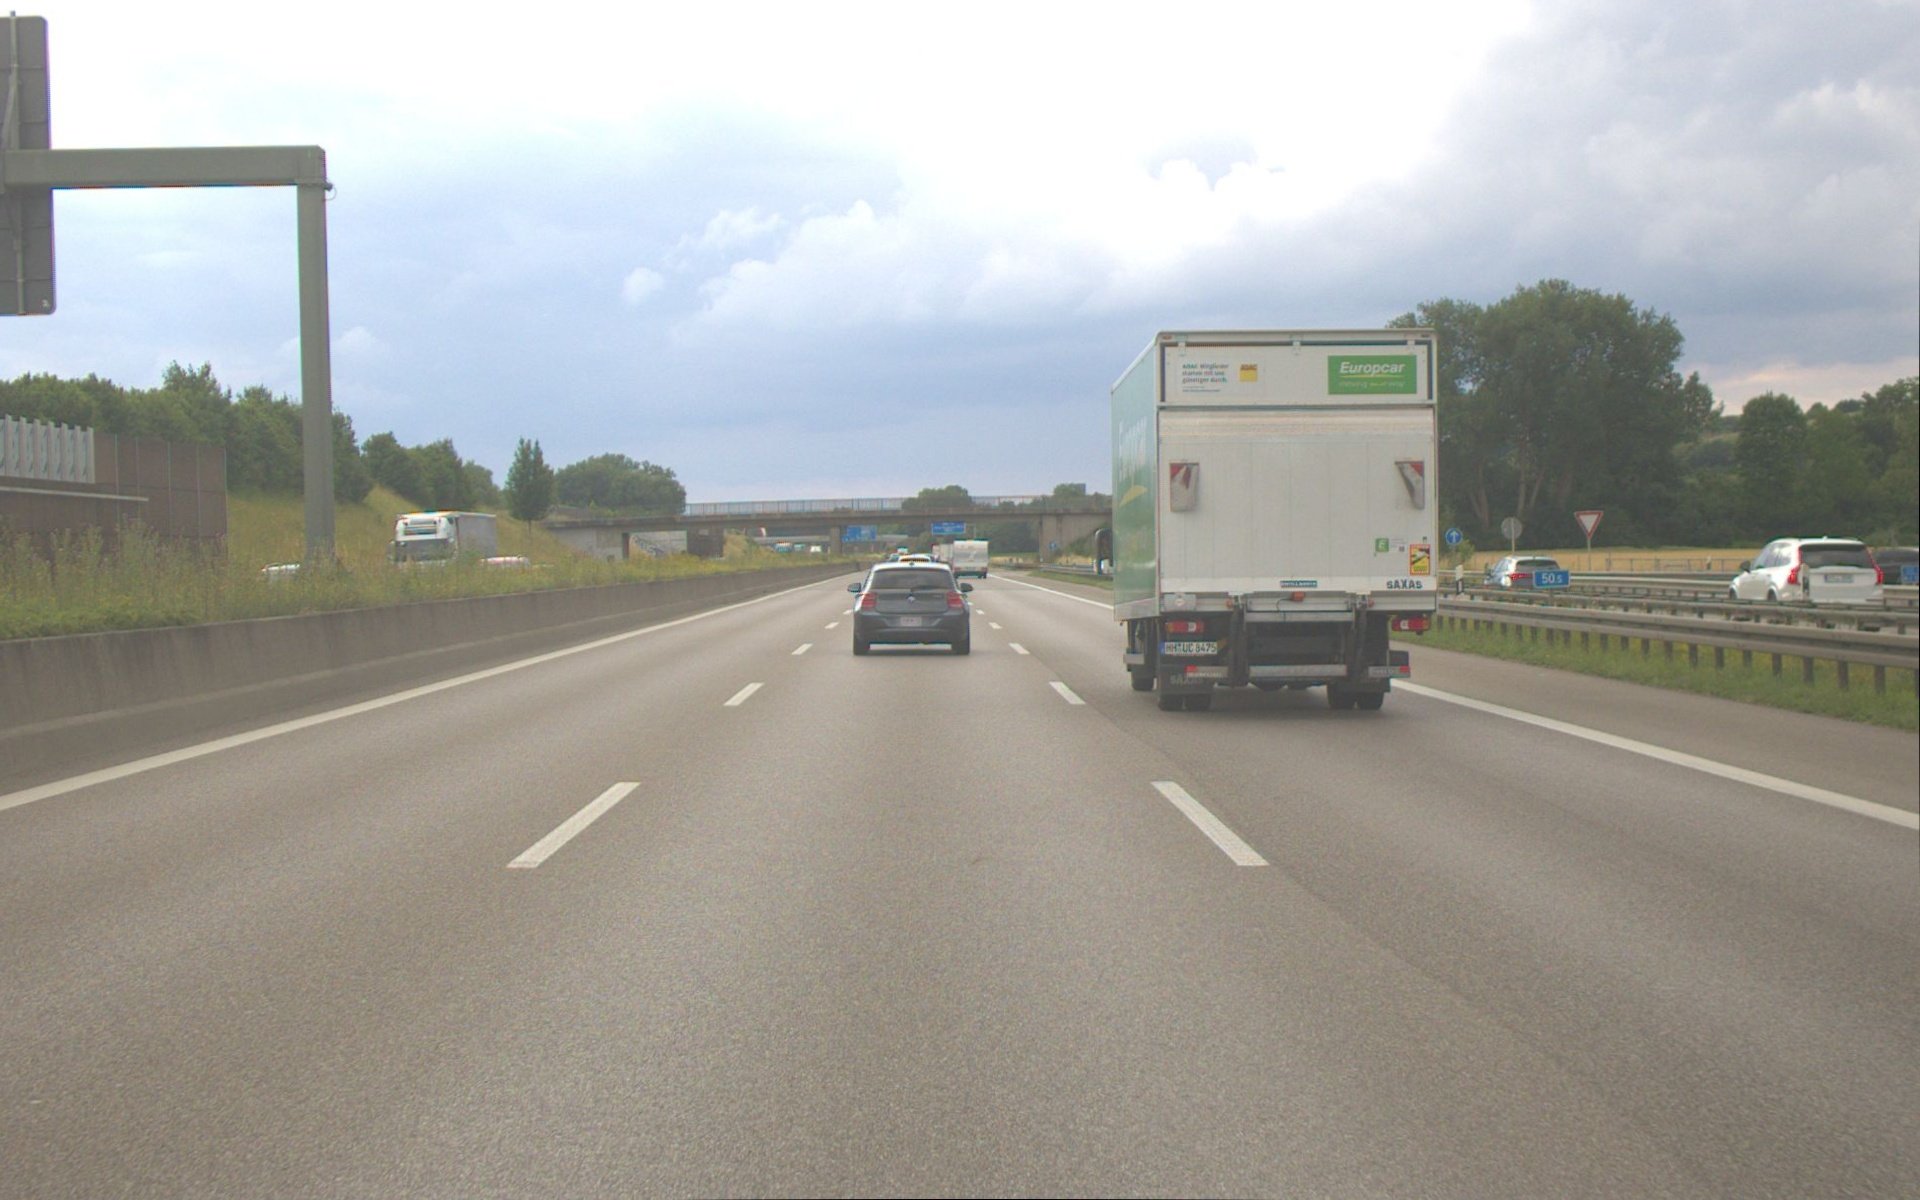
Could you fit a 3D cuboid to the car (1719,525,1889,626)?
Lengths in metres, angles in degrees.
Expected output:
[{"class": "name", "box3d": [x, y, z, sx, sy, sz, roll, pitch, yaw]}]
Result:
[{"class": "car", "box3d": [15.601, -0.479, 63.773, 1.828, 1.751, 5.066, -1, 1, -1]}]

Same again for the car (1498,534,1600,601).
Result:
[{"class": "car", "box3d": [16.025, -0.894, 93.798, 1.828, 1.751, 5.066, -1, 1, -1]}]

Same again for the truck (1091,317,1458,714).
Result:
[{"class": "truck", "box3d": [2.953, -0.819, 34.925, 2.770, 3.492, 9.062, 0, 1, -1]}]

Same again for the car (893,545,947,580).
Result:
[{"class": "car", "box3d": [-1.570, -1.461, 133.609, 1.993, 1.294, 4.000, -2, 1, -1]}]

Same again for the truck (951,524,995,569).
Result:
[{"class": "truck", "box3d": [0.867, -3.619, 234.310, 2.710, 2.954, 12.447, 1, 1, -1]}]

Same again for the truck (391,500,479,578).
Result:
[{"class": "truck", "box3d": [-22.210, -2.574, 145.717, 2.824, 3.216, 5.981, -1, 1, -1]}]

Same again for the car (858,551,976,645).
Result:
[{"class": "car", "box3d": [-0.663, -0.061, 53.080, 1.743, 1.384, 4.000, 0, 1, -1]}]
